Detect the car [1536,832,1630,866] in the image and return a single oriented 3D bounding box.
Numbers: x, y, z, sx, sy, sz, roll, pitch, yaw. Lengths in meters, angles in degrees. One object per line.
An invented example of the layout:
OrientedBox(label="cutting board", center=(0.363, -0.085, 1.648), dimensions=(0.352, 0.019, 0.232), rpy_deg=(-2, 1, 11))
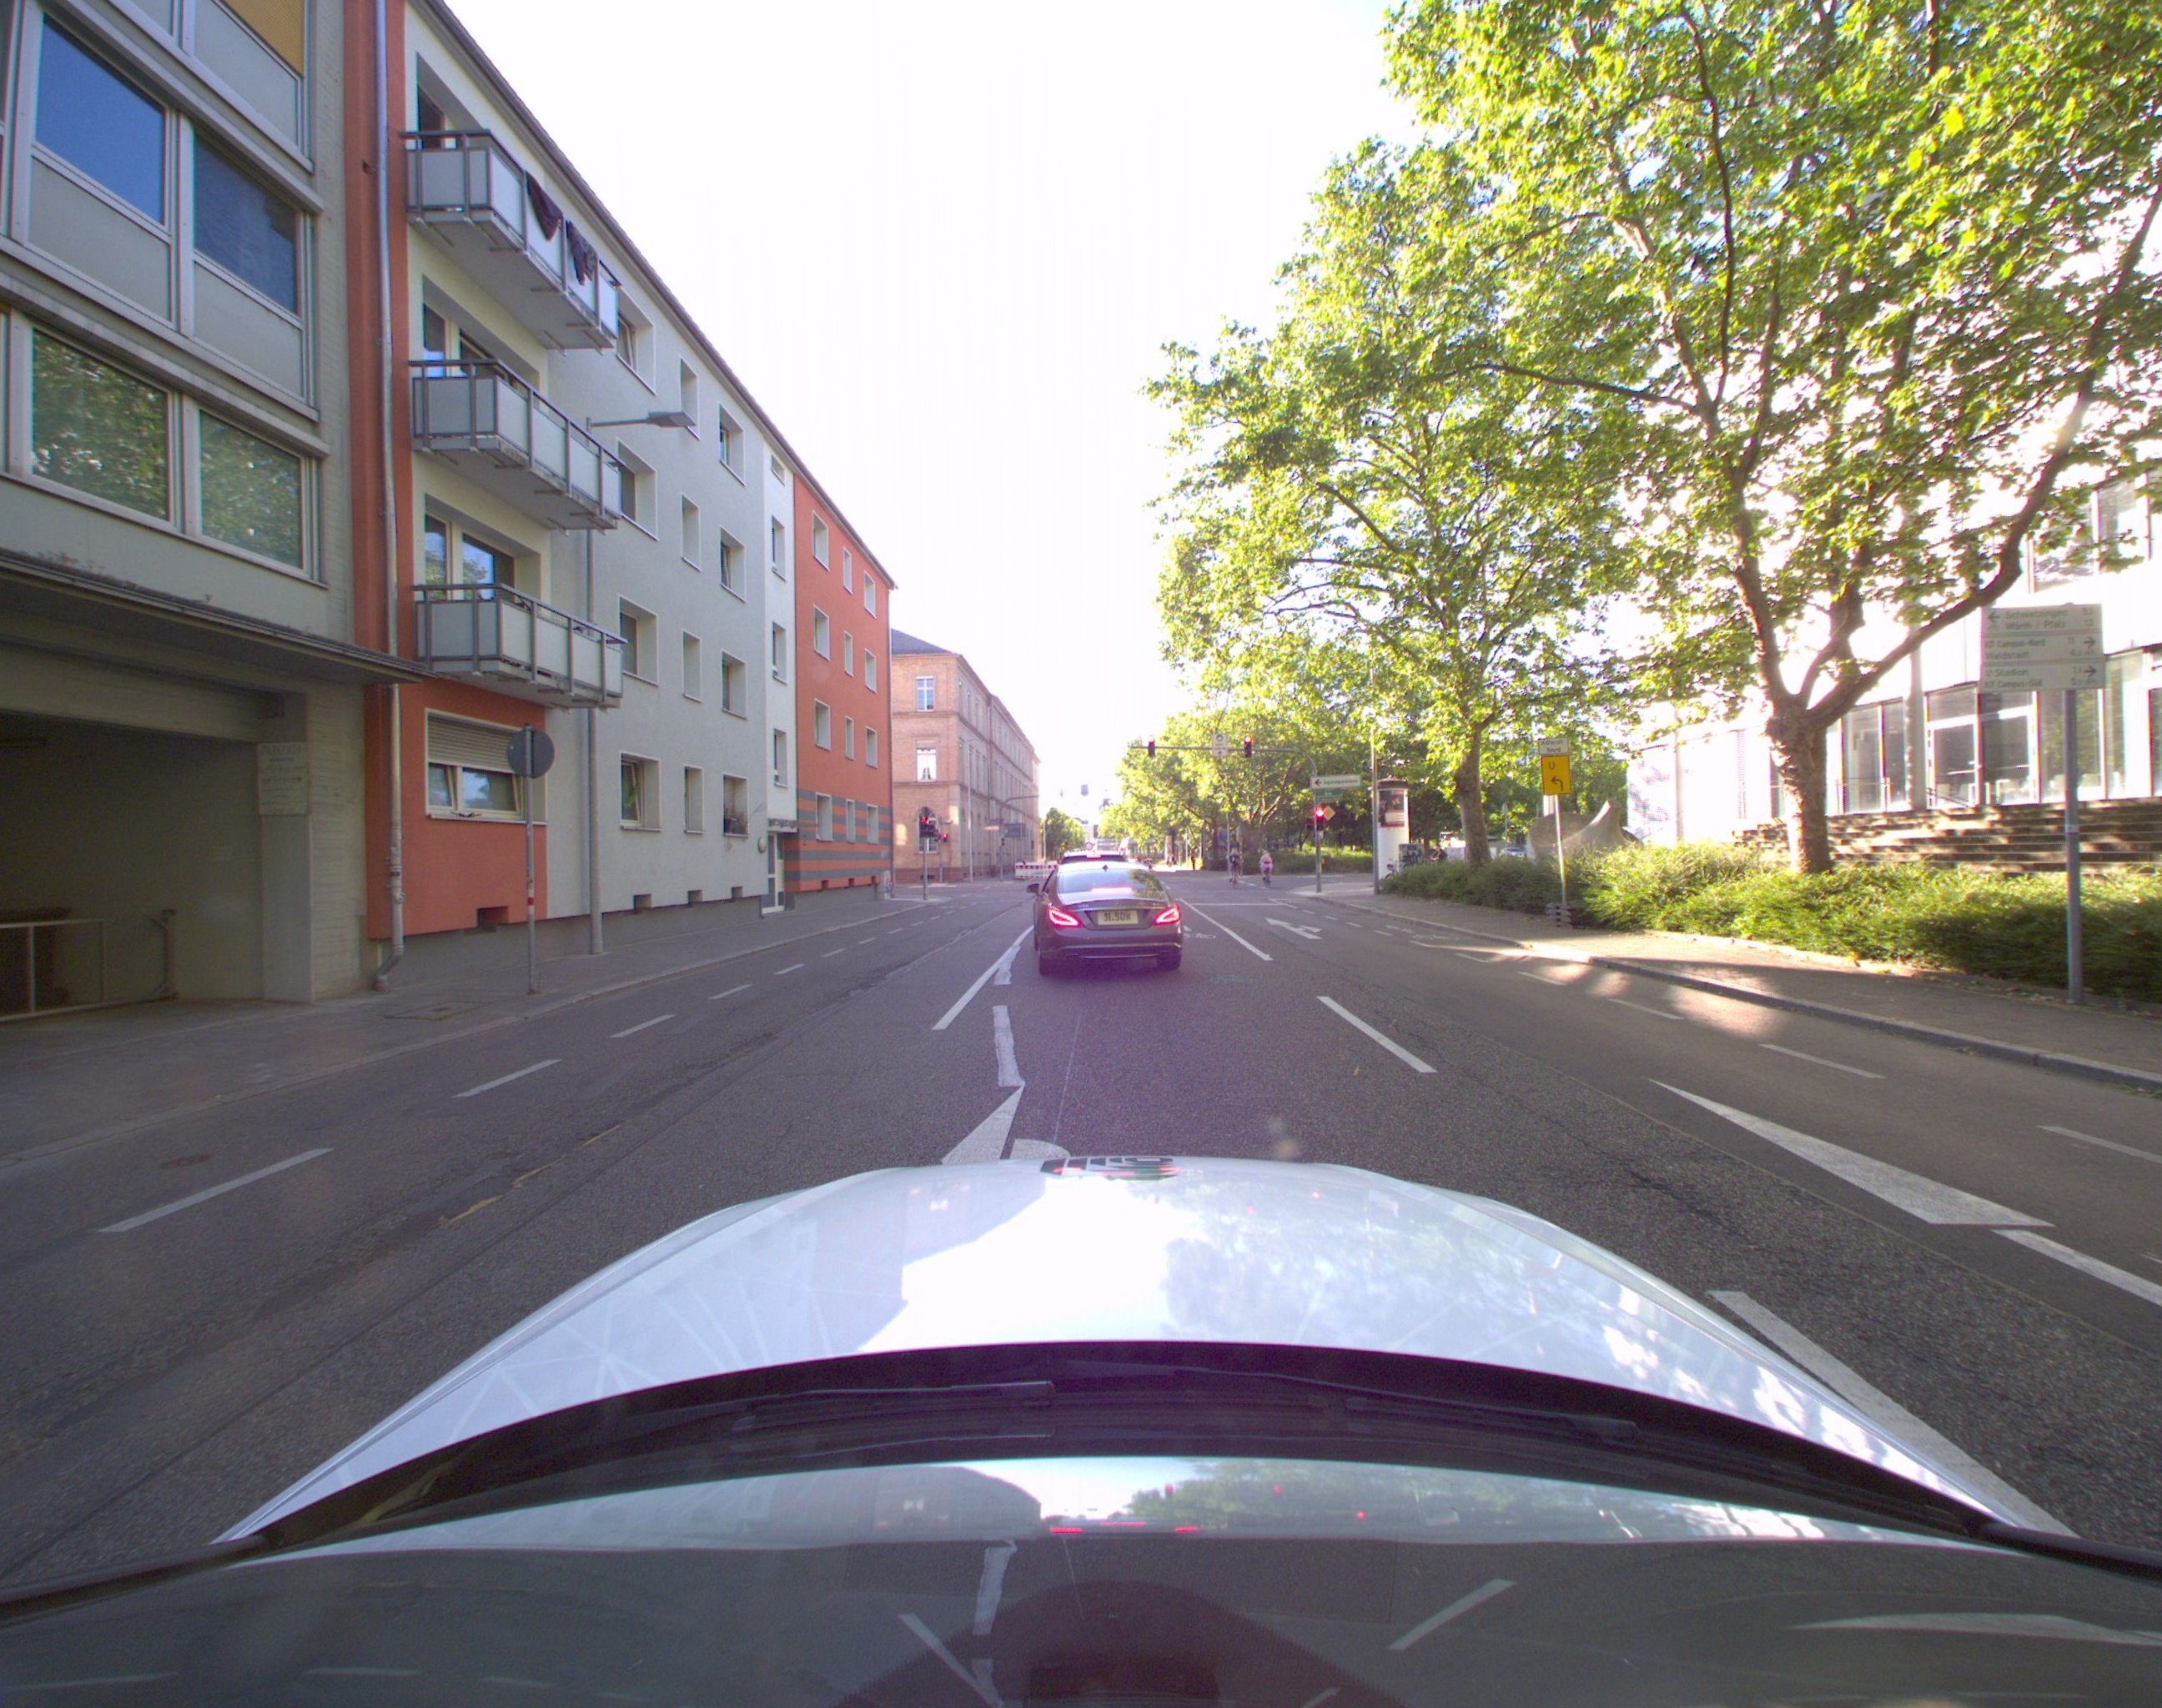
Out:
OrientedBox(label="car", center=(27.997, -0.246, 45.520), dimensions=(3.975, 1.784, 2.004), rpy_deg=(-1, 0, 7))

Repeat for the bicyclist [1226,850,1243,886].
OrientedBox(label="bicyclist", center=(6.667, 0.597, 35.363), dimensions=(0.608, 1.516, 0.890), rpy_deg=(0, 0, 2))

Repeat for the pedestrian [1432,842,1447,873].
OrientedBox(label="pedestrian", center=(21.056, 0.216, 47.886), dimensions=(0.617, 1.784, 0.631), rpy_deg=(-1, 0, 4))

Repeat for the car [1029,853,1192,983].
OrientedBox(label="car", center=(0.219, 0.754, 11.744), dimensions=(1.818, 1.476, 4.346), rpy_deg=(-1, 0, -5))

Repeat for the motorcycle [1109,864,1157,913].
OrientedBox(label="motorcycle", center=(1.385, 0.895, 22.293), dimensions=(1.005, 1.204, 2.662), rpy_deg=(-1, 0, -2))

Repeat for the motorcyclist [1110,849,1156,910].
OrientedBox(label="motorcyclist", center=(1.407, 0.681, 22.274), dimensions=(1.110, 1.613, 1.201), rpy_deg=(-1, 0, -3))

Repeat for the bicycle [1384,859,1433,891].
OrientedBox(label="bicycle", center=(10.990, 0.711, 27.331), dimensions=(1.411, 1.037, 0.538), rpy_deg=(-1, 0, -2))

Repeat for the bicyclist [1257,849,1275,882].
OrientedBox(label="bicyclist", center=(8.055, 0.493, 35.421), dimensions=(0.598, 1.402, 0.931), rpy_deg=(1, 0, 2))

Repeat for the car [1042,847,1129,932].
OrientedBox(label="car", center=(0.111, 0.689, 17.798), dimensions=(1.676, 1.625, 3.841), rpy_deg=(-1, 0, 1))

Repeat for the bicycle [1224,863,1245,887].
OrientedBox(label="bicycle", center=(6.661, 0.897, 35.355), dimensions=(0.608, 1.026, 1.732), rpy_deg=(0, 0, 2))

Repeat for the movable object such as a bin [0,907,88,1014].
OrientedBox(label="movable object such as a bin", center=(-11.267, 1.105, 8.634), dimensions=(0.584, 1.040, 0.712), rpy_deg=(-1, 0, 2))

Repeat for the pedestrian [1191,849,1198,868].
OrientedBox(label="pedestrian", center=(10.426, 0.421, 74.955), dimensions=(0.557, 1.678, 0.565), rpy_deg=(-1, 0, 1))

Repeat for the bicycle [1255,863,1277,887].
OrientedBox(label="bicycle", center=(8.051, 0.913, 35.477), dimensions=(0.598, 0.985, 1.882), rpy_deg=(1, 0, 2))
